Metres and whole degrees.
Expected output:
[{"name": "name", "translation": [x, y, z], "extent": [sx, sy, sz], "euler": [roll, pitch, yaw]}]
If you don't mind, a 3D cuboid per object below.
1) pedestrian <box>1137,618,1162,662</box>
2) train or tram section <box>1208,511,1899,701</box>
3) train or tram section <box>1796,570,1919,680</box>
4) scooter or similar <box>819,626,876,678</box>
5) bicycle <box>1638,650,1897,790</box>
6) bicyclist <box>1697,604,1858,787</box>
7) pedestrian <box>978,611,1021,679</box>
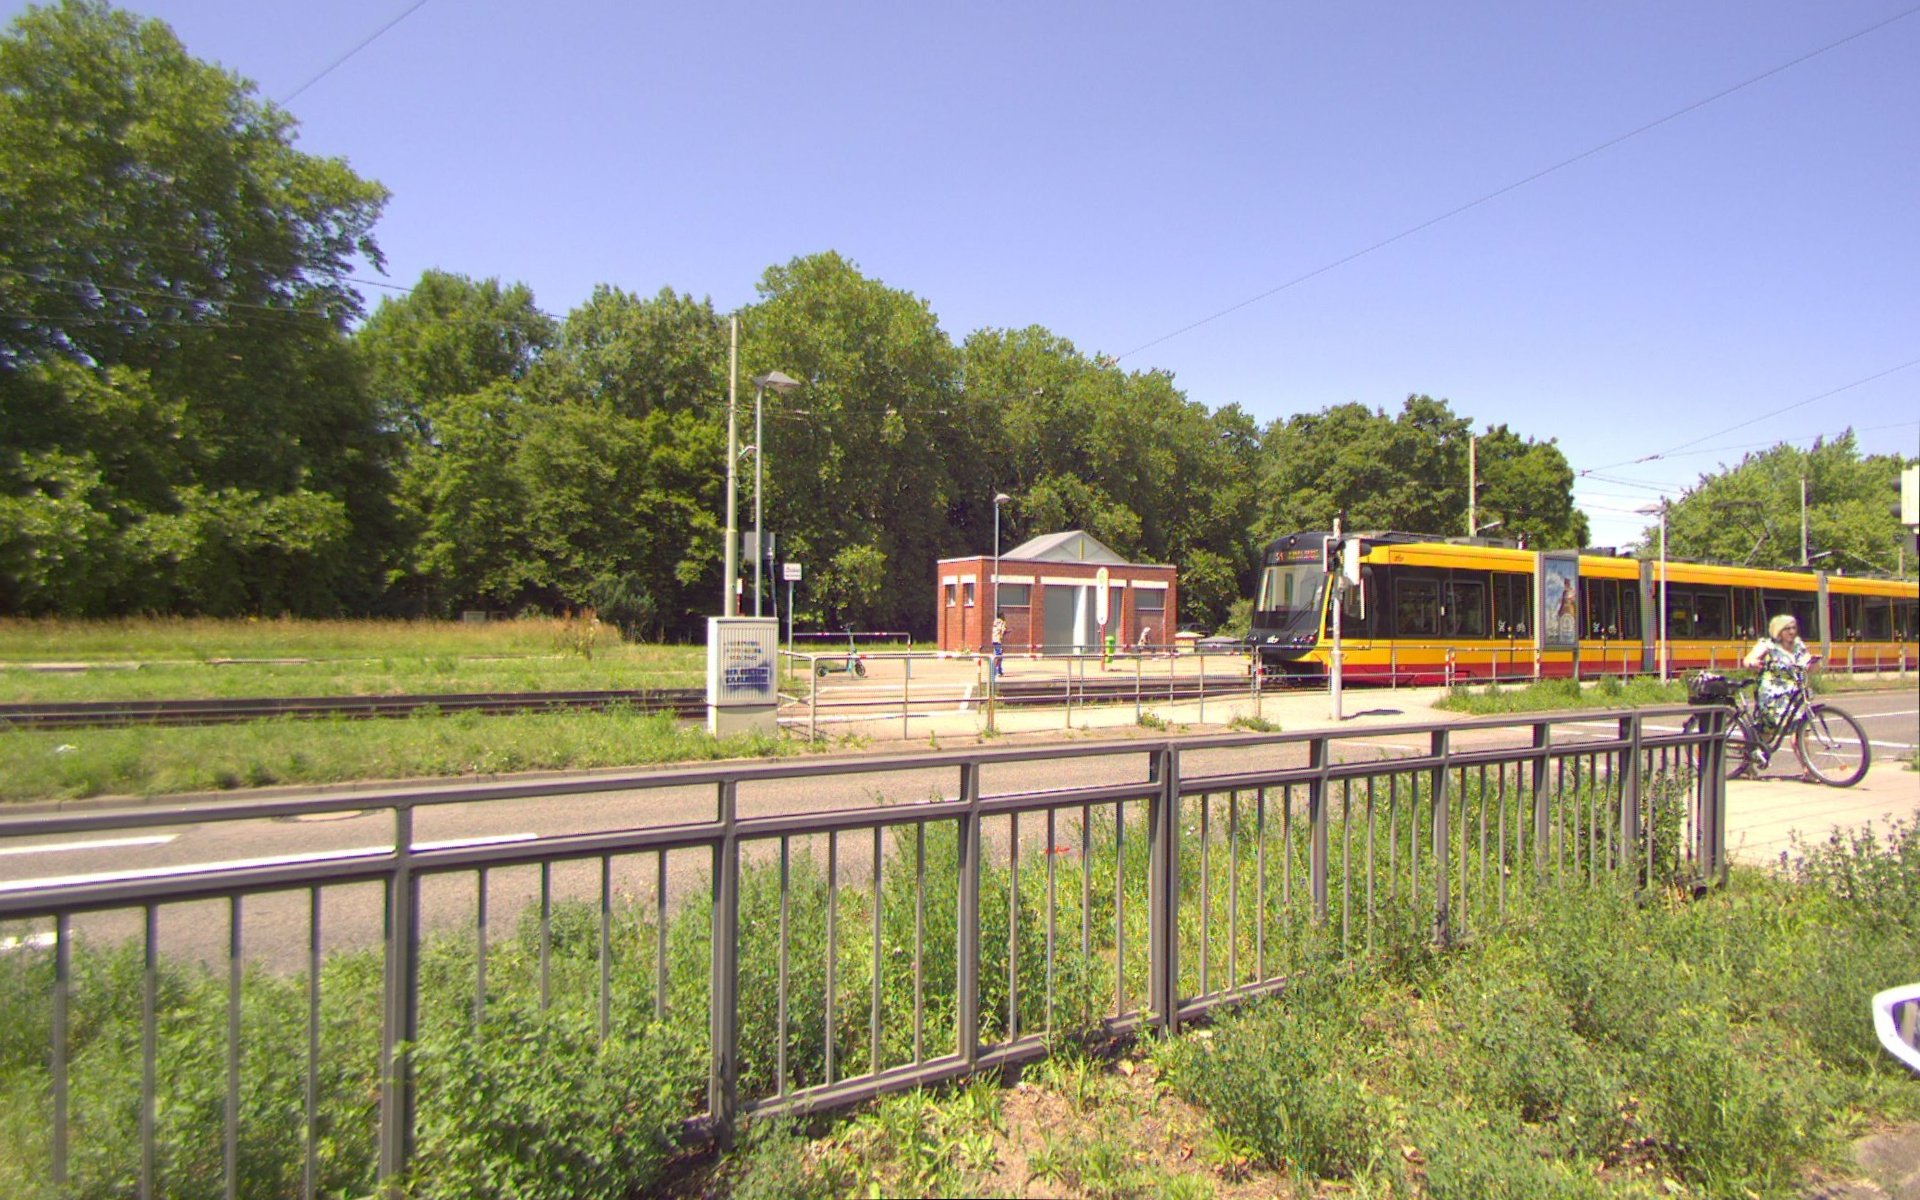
[{"name": "pedestrian", "translation": [6.618, 1.386, 35.079], "extent": [0.563, 1.499, 0.636], "euler": [1, -1, -30]}, {"name": "train or tram section", "translation": [19.143, 0.428, 28.802], "extent": [29.676, 3.799, 2.944], "euler": [1, -1, -30]}, {"name": "train or tram section", "translation": [46.061, 1.221, 44.451], "extent": [32.694, 3.840, 2.917], "euler": [1, -1, -30]}, {"name": "scooter or similar", "translation": [-2.626, 1.205, 23.459], "extent": [1.217, 1.183, 0.508], "euler": [1, -1, -30]}, {"name": "bicycle", "translation": [7.567, 1.127, 9.569], "extent": [0.531, 1.176, 1.961], "euler": [-1, -6, -11]}, {"name": "bicyclist", "translation": [7.993, 0.932, 9.872], "extent": [0.570, 1.688, 0.959], "euler": [-1, -6, -11]}, {"name": "pedestrian", "translation": [0.953, 1.078, 24.413], "extent": [0.799, 1.611, 0.668], "euler": [1, -1, -30]}]
